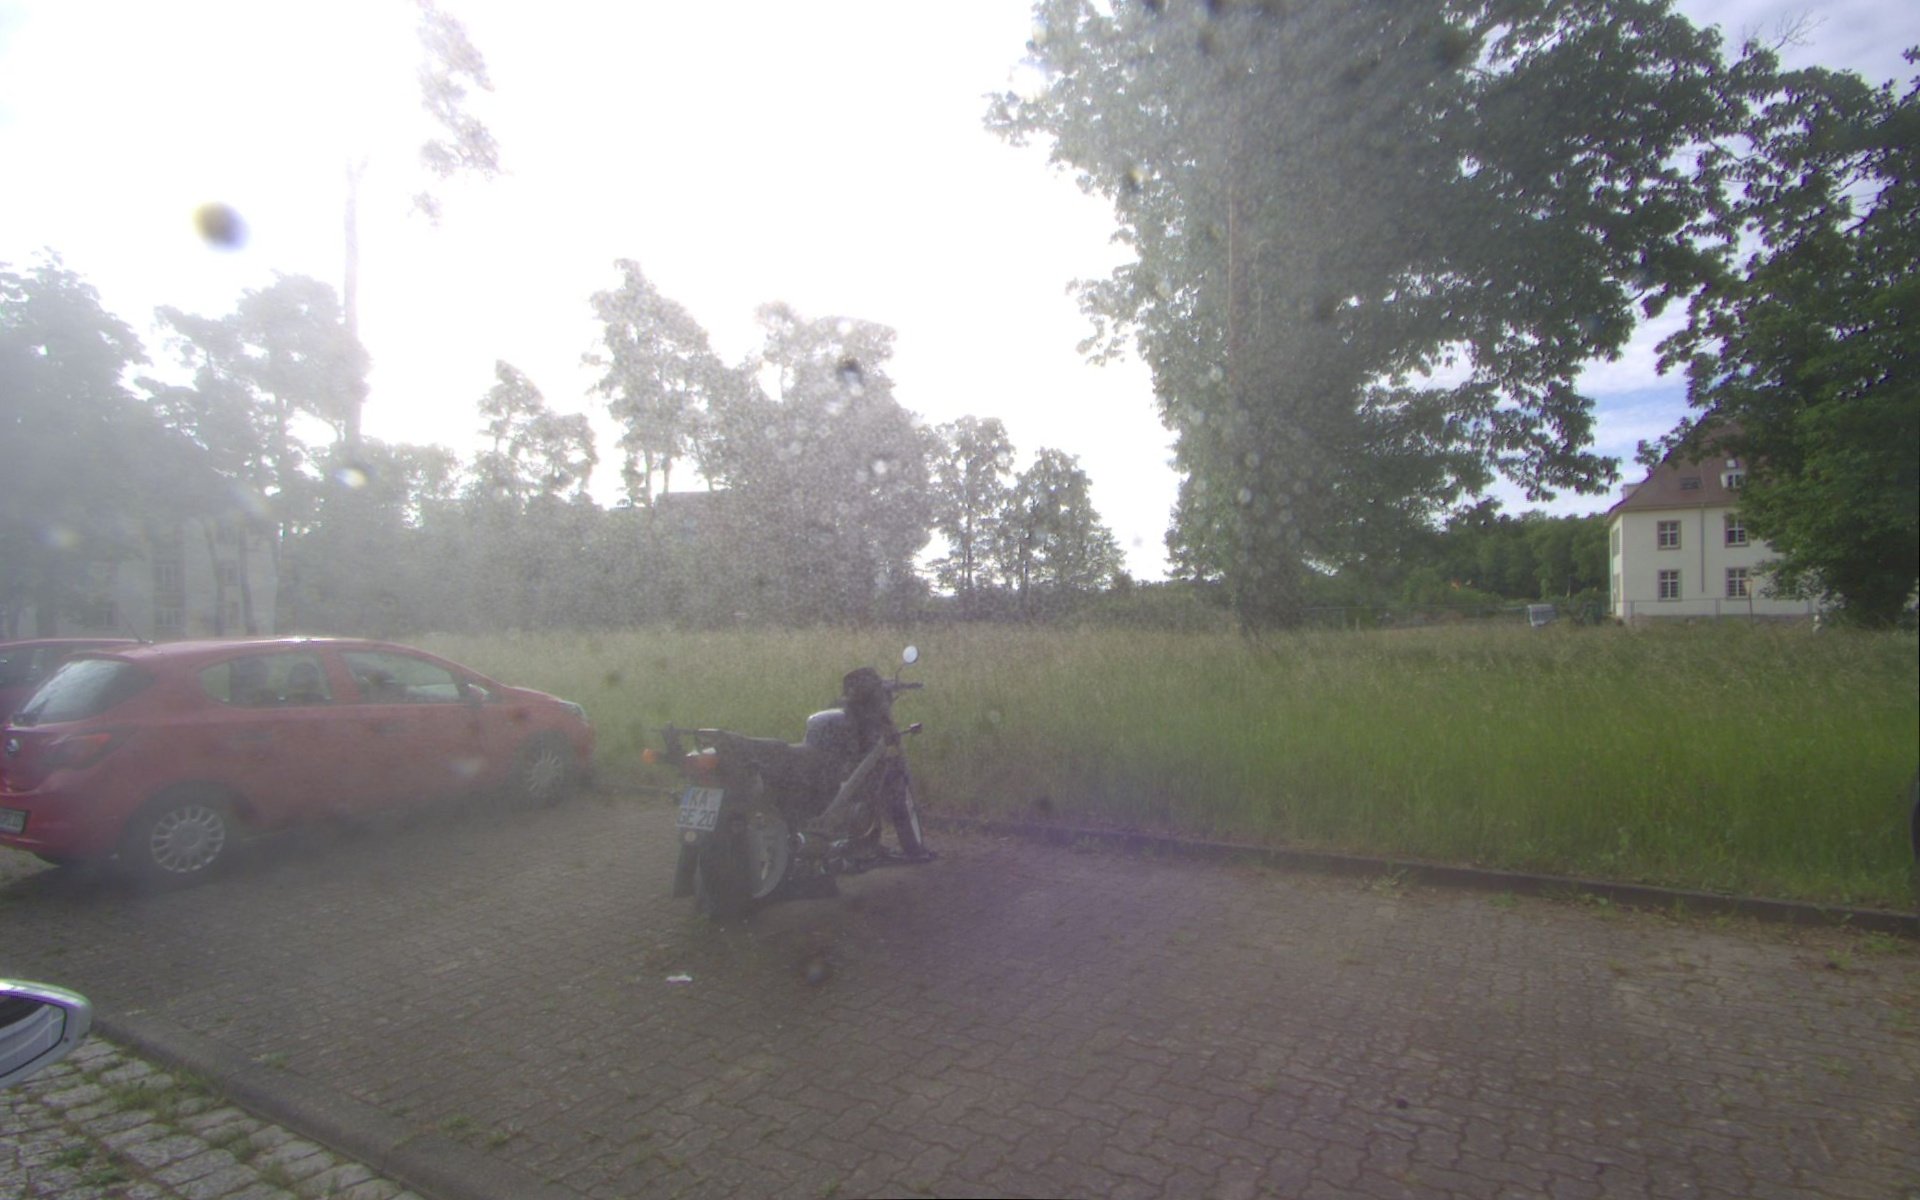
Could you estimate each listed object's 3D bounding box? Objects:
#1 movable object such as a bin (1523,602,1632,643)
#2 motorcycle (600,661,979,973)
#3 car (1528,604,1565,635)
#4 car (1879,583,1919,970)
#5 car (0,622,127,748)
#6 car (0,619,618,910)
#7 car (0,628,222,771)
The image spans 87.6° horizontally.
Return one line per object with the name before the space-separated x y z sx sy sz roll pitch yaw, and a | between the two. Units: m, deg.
movable object such as a bin | 41.876 1.574 68.033 2.152 2.689 5.928 1 -2 -40
motorcycle | -0.773 0.998 5.486 0.783 1.201 2.325 -1 0 28
car | 46.612 1.585 79.714 1.885 2.378 4.586 -1 -2 23
car | 3.841 0.678 2.216 1.767 1.591 4.156 -2 -2 30
car | -13.406 1.141 12.674 1.724 1.573 4.024 -2 0 28
car | -4.715 0.953 7.551 1.753 1.479 3.820 -2 0 30
car | -11.081 1.140 11.509 1.725 1.479 3.785 -2 0 31
